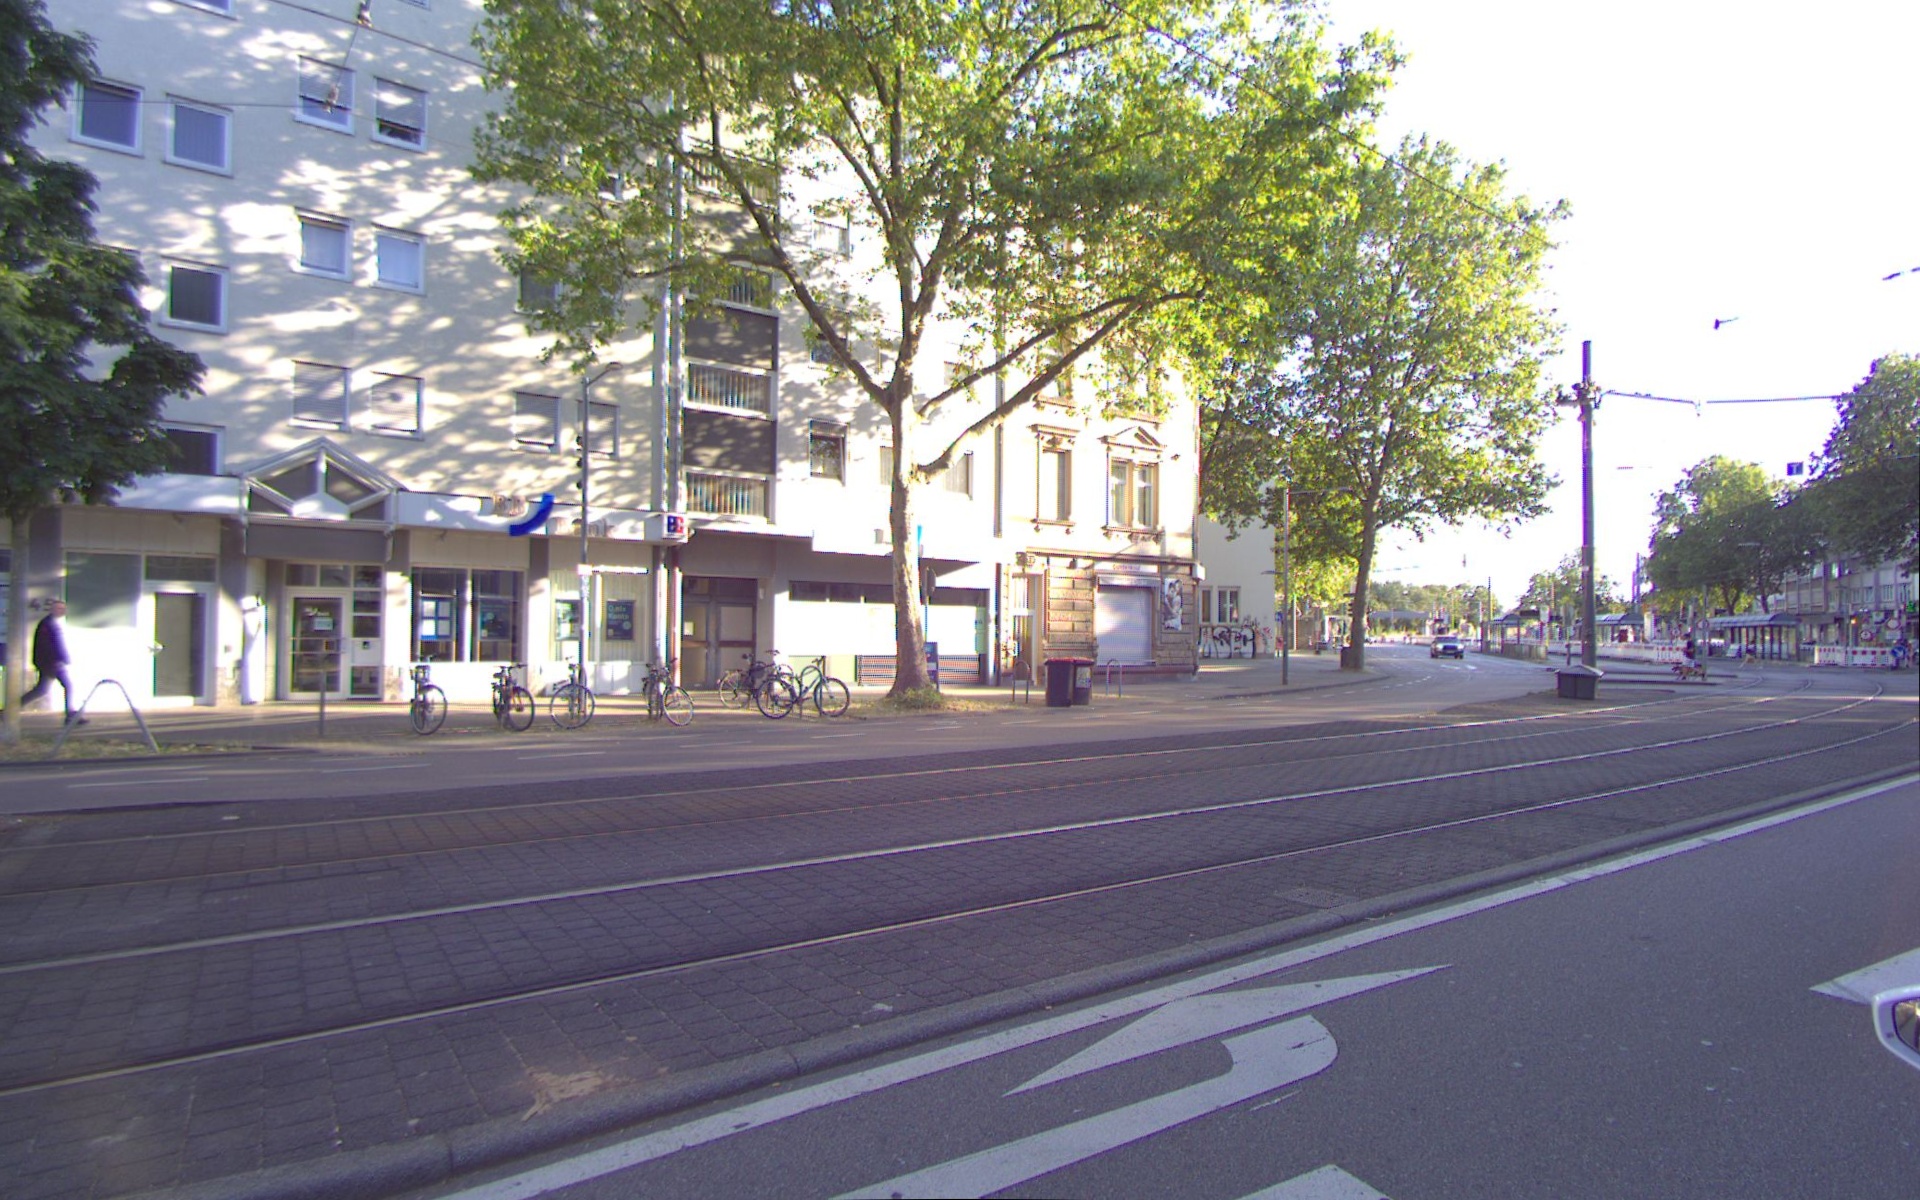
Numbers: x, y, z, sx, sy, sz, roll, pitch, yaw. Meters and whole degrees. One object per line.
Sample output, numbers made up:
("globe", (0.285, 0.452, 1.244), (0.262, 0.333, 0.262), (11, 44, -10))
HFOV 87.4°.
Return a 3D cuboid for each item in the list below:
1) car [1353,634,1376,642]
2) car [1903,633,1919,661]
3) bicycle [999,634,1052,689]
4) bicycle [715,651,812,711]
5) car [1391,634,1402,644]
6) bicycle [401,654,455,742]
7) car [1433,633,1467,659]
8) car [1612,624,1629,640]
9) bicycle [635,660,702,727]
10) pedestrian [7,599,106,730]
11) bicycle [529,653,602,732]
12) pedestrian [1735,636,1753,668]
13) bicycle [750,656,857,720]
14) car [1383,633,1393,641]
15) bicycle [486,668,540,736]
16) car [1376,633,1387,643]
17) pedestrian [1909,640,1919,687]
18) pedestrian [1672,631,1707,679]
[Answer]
("car", (78.253, 7.357, 194.272), (3.919, 1.661, 1.792), (0, -2, 13))
("car", (64.532, 3.130, 66.184), (1.960, 1.815, 4.000), (2, -1, 20))
("bicycle", (1.796, 1.670, 27.788), (0.469, 1.430, 1.956), (1, -1, -29))
("bicycle", (-3.908, 1.594, 20.009), (1.777, 1.132, 0.617), (2, -2, -29))
("car", (78.787, 7.016, 181.334), (1.814, 1.706, 3.715), (-2, -2, 23))
("bicycle", (-7.832, 1.397, 14.745), (0.506, 1.153, 1.729), (2, -1, -34))
("car", (32.982, 3.097, 67.696), (1.962, 1.661, 3.997), (0, -2, 25))
("car", (89.043, 4.323, 135.407), (1.593, 2.040, 3.110), (0, -2, 26))
("bicycle", (-4.979, 1.566, 17.114), (0.584, 1.002, 1.729), (2, -1, -34))
("pedestrian", (-13.327, 0.931, 14.850), (0.906, 1.852, 0.752), (2, -1, -30))
("bicycle", (-6.335, 1.446, 16.085), (0.724, 1.128, 1.729), (2, -1, -34))
("pedestrian", (41.969, 2.787, 53.790), (0.645, 1.678, 0.444), (0, -2, 18))
("bicycle", (-2.829, 1.571, 18.223), (1.800, 1.091, 0.649), (2, -2, -29))
("car", (89.586, 7.724, 210.265), (1.814, 1.706, 3.716), (0, -2, 23))
("bicycle", (-6.931, 1.544, 15.534), (0.467, 0.900, 1.729), (2, -1, -34))
("car", (79.467, 7.179, 189.317), (1.814, 1.706, 3.716), (0, -2, 23))
("pedestrian", (30.643, 2.024, 31.800), (0.633, 1.469, 0.761), (2, 0, -39))
("pedestrian", (26.712, 2.007, 36.780), (0.510, 1.750, 0.893), (1, -2, -27))
